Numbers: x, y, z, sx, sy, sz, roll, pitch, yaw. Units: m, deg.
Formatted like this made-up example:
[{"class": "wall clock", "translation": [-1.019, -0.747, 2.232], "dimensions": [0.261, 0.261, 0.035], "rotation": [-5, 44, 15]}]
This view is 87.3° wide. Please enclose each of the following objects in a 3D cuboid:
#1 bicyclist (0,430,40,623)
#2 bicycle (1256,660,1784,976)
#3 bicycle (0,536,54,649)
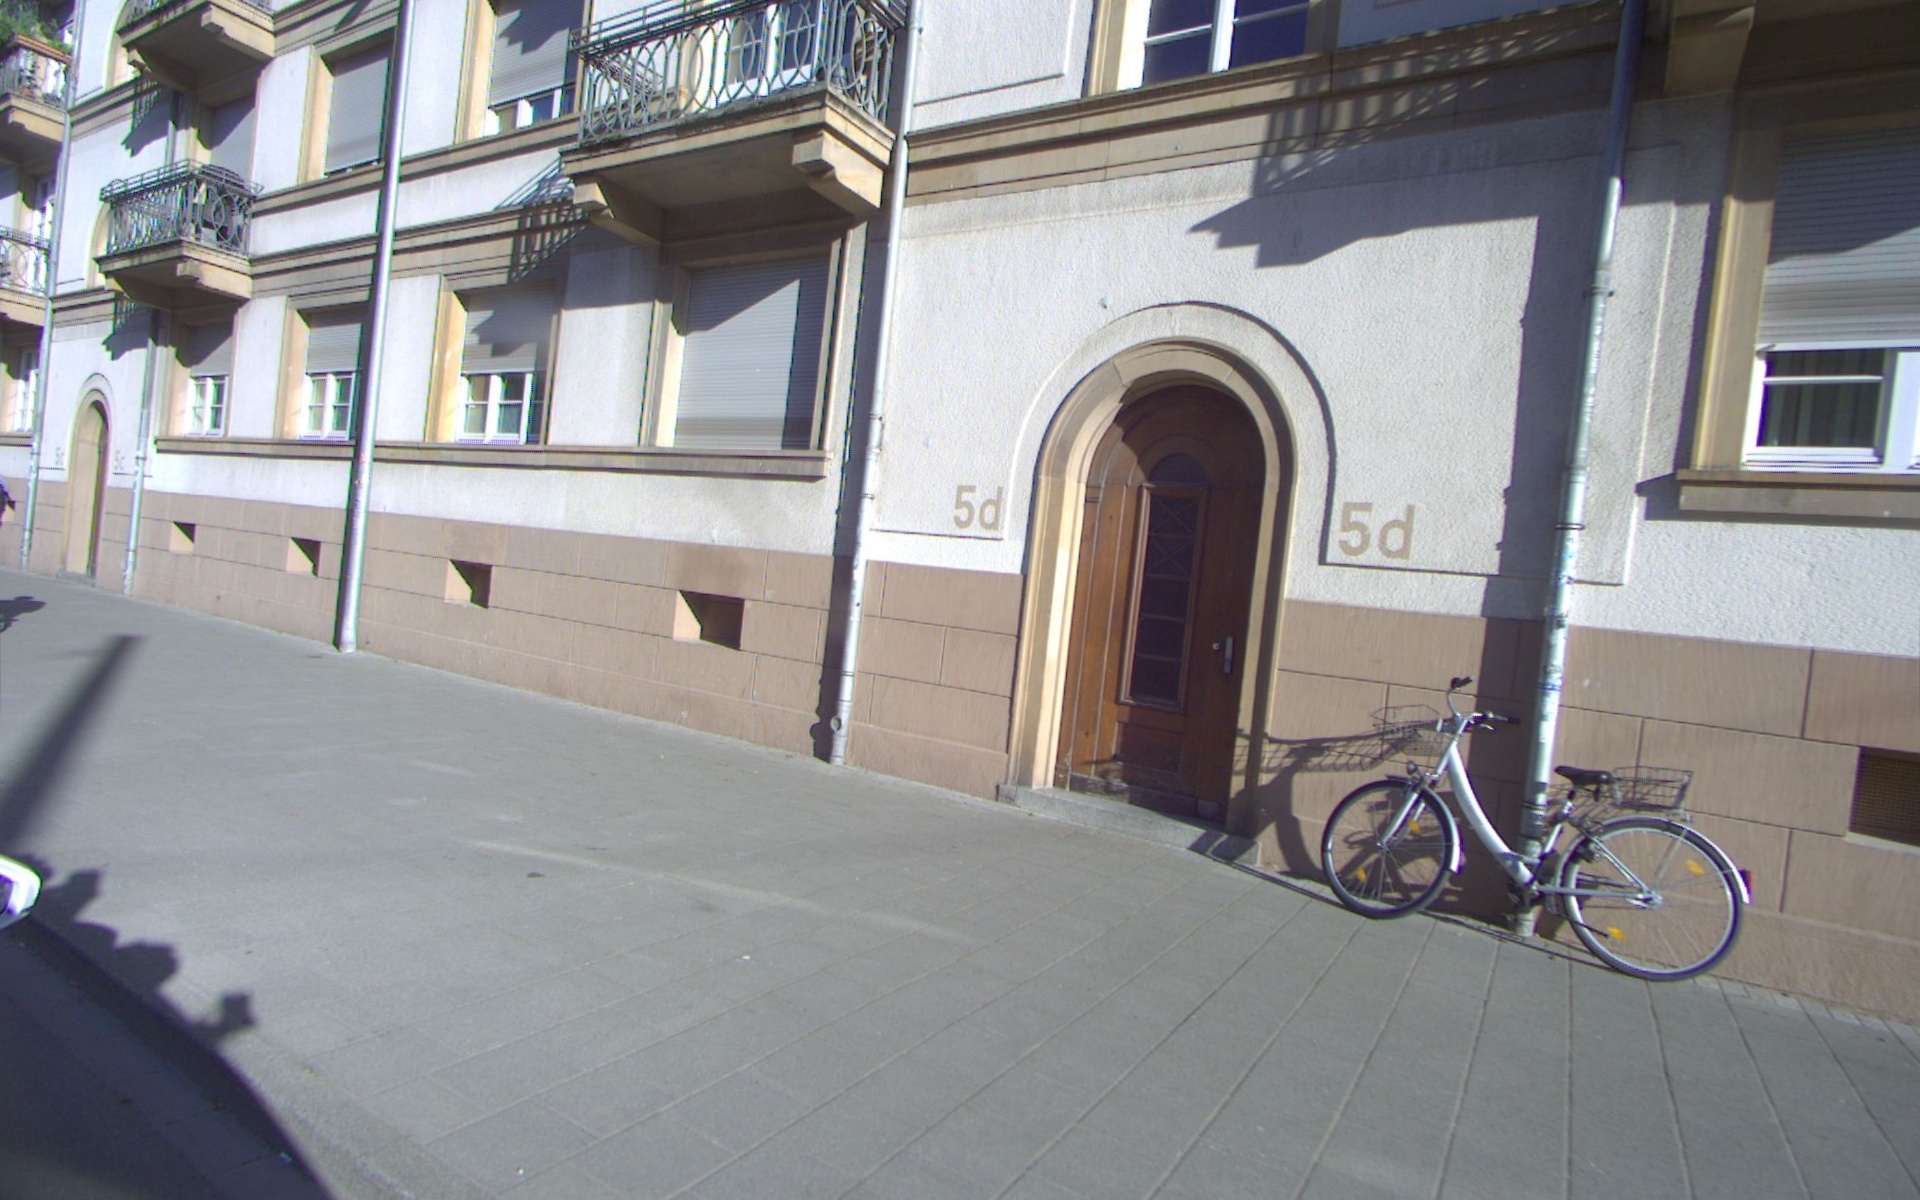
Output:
[{"class": "bicyclist", "translation": [-9.400, -0.734, 9.492], "dimensions": [0.922, 1.785, 0.733], "rotation": [7, 1, 31]}, {"class": "bicycle", "translation": [2.704, 0.993, 5.116], "dimensions": [2.162, 1.109, 0.418], "rotation": [7, 1, 32]}, {"class": "bicycle", "translation": [-9.572, -0.154, 9.593], "dimensions": [2.162, 0.965, 0.768], "rotation": [7, 1, 32]}]
